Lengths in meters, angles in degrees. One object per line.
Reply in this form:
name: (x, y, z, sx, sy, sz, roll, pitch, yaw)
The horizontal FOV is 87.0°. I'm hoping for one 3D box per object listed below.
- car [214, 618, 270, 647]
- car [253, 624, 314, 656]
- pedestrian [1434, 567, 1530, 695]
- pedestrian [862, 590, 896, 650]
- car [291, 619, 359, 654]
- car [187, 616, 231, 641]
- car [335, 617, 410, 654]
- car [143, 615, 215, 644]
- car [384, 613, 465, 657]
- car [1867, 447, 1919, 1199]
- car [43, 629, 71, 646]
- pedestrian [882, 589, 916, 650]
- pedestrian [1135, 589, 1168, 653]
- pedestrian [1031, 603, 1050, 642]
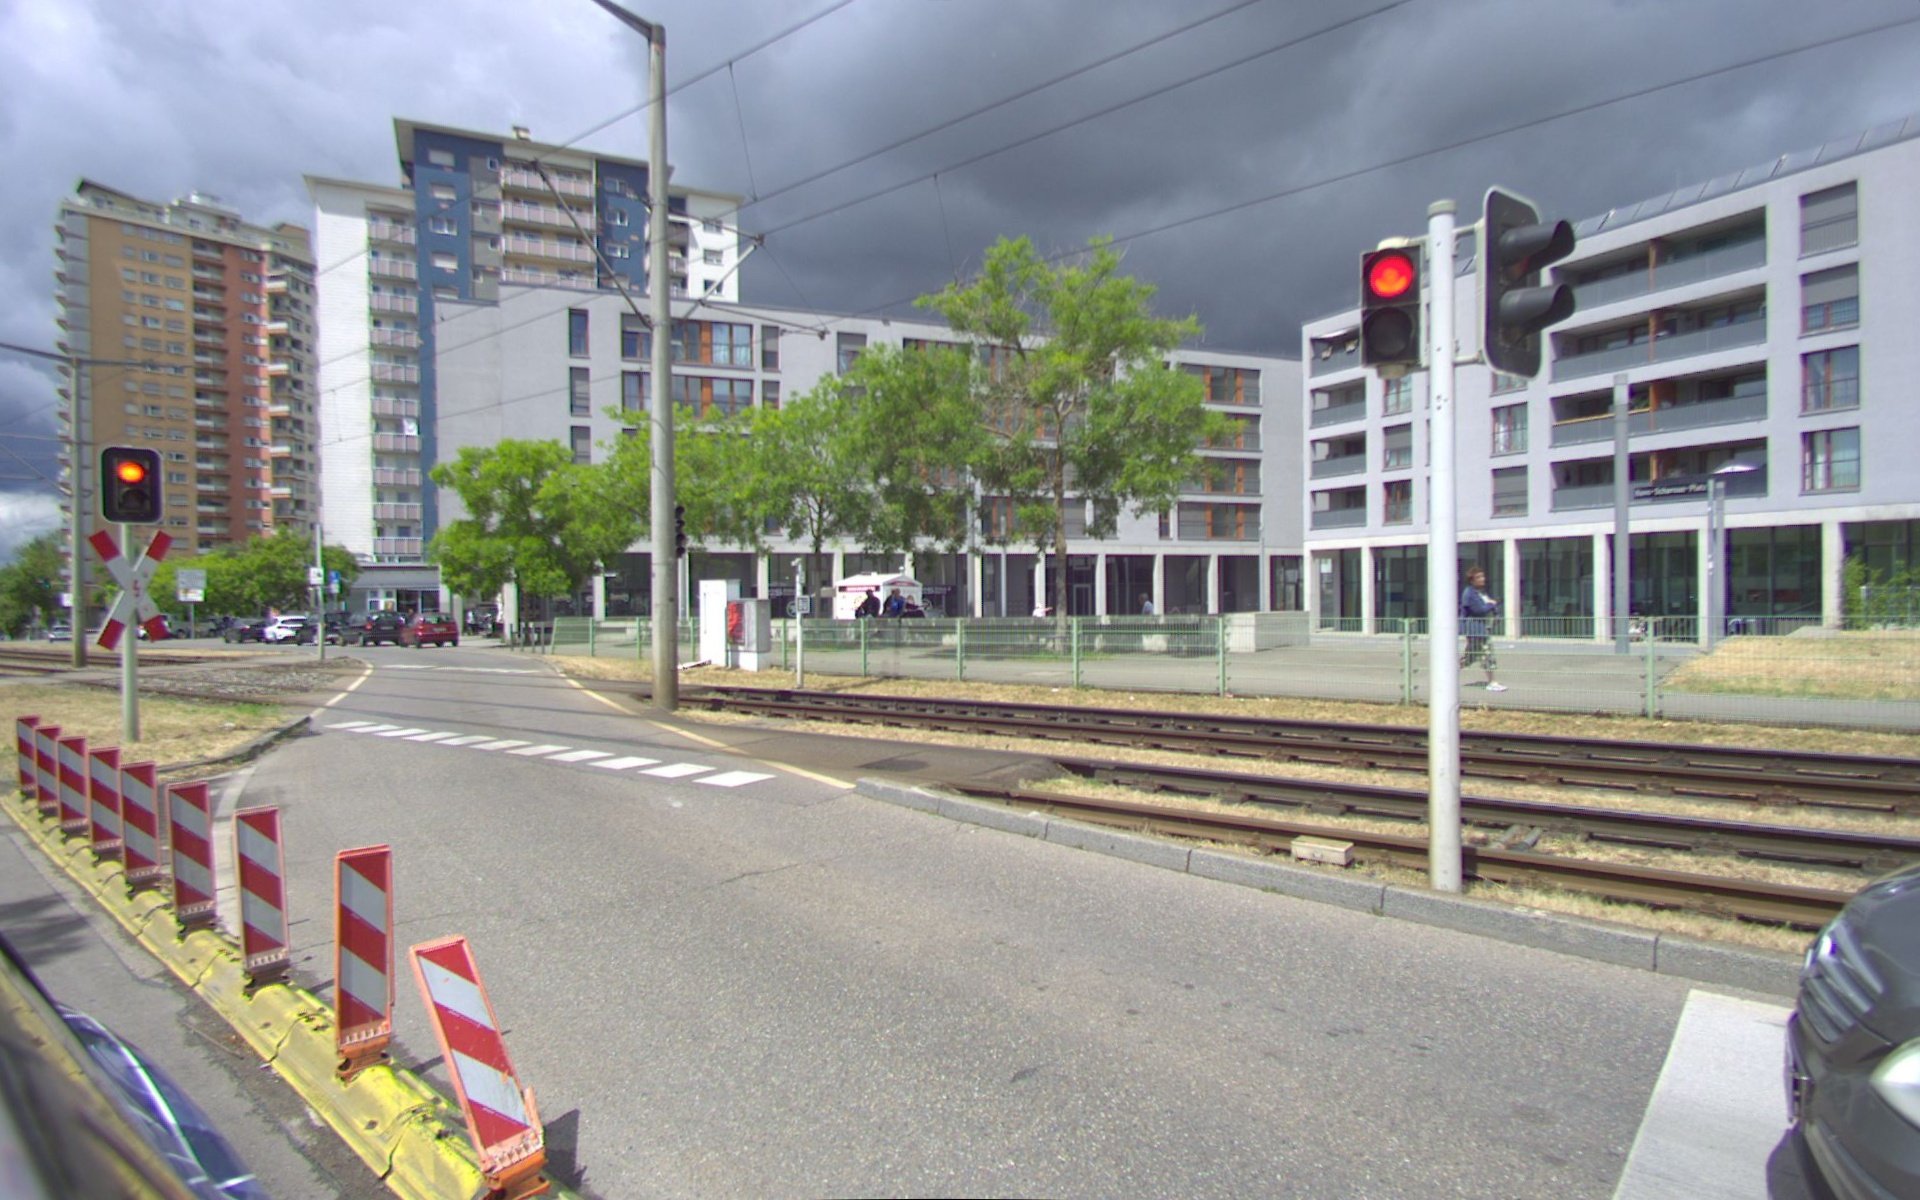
car: (-41.489, 1.844, 58.436, 3.801, 1.551, 1.758, -2, 1, 41)
car: (-36.293, 2.116, 54.280, 3.801, 1.551, 1.758, -2, 1, 41)
pedestrian: (6.932, 0.399, 13.438, 0.937, 1.625, 0.746, -2, 0, 41)
pedestrian: (-2.309, 0.573, 28.751, 0.538, 1.666, 0.739, -2, 0, 41)
car: (-31.432, 1.788, 50.062, 3.801, 1.551, 1.758, -2, 1, 41)
car: (-54.742, 2.063, 73.730, 3.801, 1.672, 1.758, -2, 0, 41)
car: (-26.791, 1.610, 46.090, 3.803, 1.551, 1.869, -2, 1, 43)
car: (-58.563, 2.171, 76.007, 1.856, 1.940, 4.496, -2, 0, 0)
car: (-22.131, 1.416, 41.784, 1.867, 1.635, 3.805, -2, 1, -45)
car: (3.450, 0.560, 0.673, 4.176, 1.672, 1.837, -2, 0, 44)
car: (-83.942, 3.471, 94.085, 1.756, 1.511, 3.807, -2, 1, -44)
pedestrian: (-1.702, 0.542, 28.118, 0.538, 1.666, 0.739, -2, 0, 41)
pedestrian: (4.990, 0.552, 26.368, 0.744, 1.623, 0.535, -2, 0, 19)
pedestrian: (4.019, 1.112, 50.621, 0.737, 1.920, 0.540, -2, 0, -21)
